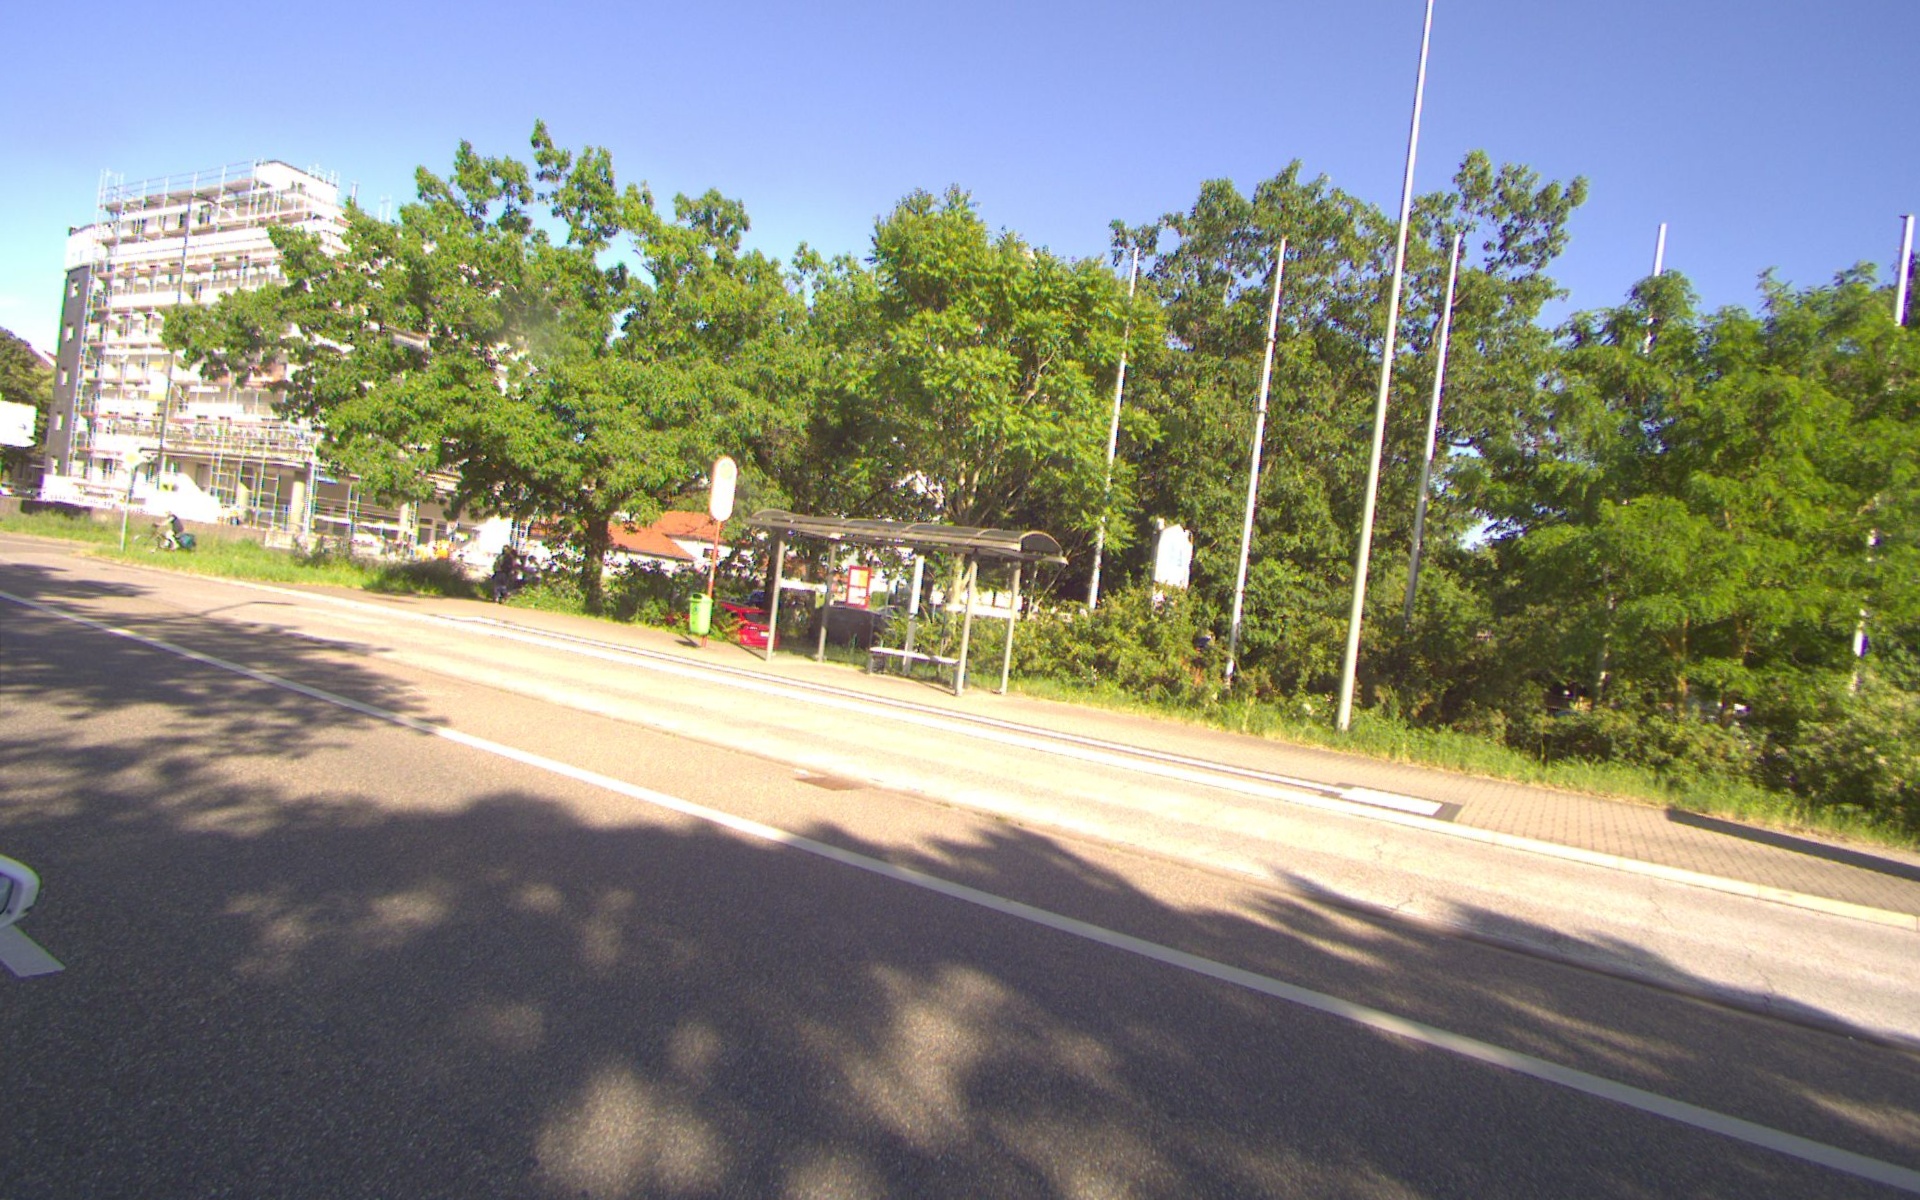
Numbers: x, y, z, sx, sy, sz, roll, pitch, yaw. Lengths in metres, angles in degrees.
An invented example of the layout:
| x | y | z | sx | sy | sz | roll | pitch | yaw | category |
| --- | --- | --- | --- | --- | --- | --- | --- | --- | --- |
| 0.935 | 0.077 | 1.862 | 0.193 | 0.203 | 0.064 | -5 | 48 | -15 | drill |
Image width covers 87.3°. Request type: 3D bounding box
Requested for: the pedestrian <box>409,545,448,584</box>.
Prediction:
| x | y | z | sx | sy | sz | roll | pitch | yaw | category |
| --- | --- | --- | --- | --- | --- | --- | --- | --- | --- |
| -22.133 | -1.487 | 41.916 | 0.948 | 1.465 | 0.895 | 7 | 0 | 17 | pedestrian |

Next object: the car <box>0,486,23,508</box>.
| x | y | z | sx | sy | sz | roll | pitch | yaw | category |
| --- | --- | --- | --- | --- | --- | --- | --- | --- | --- |
| -66.609 | -7.211 | 70.162 | 1.521 | 1.330 | 3.250 | 7 | 0 | -40 | car |

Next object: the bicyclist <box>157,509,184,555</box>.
| x | y | z | sx | sy | sz | roll | pitch | yaw | category |
| --- | --- | --- | --- | --- | --- | --- | --- | --- | --- |
| -27.546 | -2.369 | 35.088 | 0.582 | 1.511 | 0.543 | 7 | 1 | -43 | bicyclist |

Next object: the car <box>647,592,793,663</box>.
| x | y | z | sx | sy | sz | roll | pitch | yaw | category |
| --- | --- | --- | --- | --- | --- | --- | --- | --- | --- |
| -6.874 | 0.793 | 28.745 | 3.680 | 1.504 | 1.755 | 7 | 0 | 28 | car |

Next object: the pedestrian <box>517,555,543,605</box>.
| x | y | z | sx | sy | sz | roll | pitch | yaw | category |
| --- | --- | --- | --- | --- | --- | --- | --- | --- | --- |
| -13.399 | -0.633 | 31.341 | 0.517 | 1.465 | 0.587 | 7 | 1 | -32 | pedestrian |

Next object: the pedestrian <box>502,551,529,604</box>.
| x | y | z | sx | sy | sz | roll | pitch | yaw | category |
| --- | --- | --- | --- | --- | --- | --- | --- | --- | --- |
| -12.938 | -0.662 | 29.275 | 0.517 | 1.465 | 0.587 | 7 | 1 | -32 | pedestrian |

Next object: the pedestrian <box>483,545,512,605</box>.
| x | y | z | sx | sy | sz | roll | pitch | yaw | category |
| --- | --- | --- | --- | --- | --- | --- | --- | --- | --- |
| -13.074 | -0.708 | 28.431 | 0.517 | 1.632 | 0.587 | 7 | 1 | -32 | pedestrian |

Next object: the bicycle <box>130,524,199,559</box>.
| x | y | z | sx | sy | sz | roll | pitch | yaw | category |
| --- | --- | --- | --- | --- | --- | --- | --- | --- | --- |
| -27.643 | -2.026 | 34.985 | 1.784 | 0.956 | 0.553 | 8 | 0 | -44 | bicycle |

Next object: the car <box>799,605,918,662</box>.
| x | y | z | sx | sy | sz | roll | pitch | yaw | category |
| --- | --- | --- | --- | --- | --- | --- | --- | --- | --- |
| -3.586 | 1.181 | 35.978 | 3.674 | 1.504 | 1.914 | 7 | 0 | 13 | car |
